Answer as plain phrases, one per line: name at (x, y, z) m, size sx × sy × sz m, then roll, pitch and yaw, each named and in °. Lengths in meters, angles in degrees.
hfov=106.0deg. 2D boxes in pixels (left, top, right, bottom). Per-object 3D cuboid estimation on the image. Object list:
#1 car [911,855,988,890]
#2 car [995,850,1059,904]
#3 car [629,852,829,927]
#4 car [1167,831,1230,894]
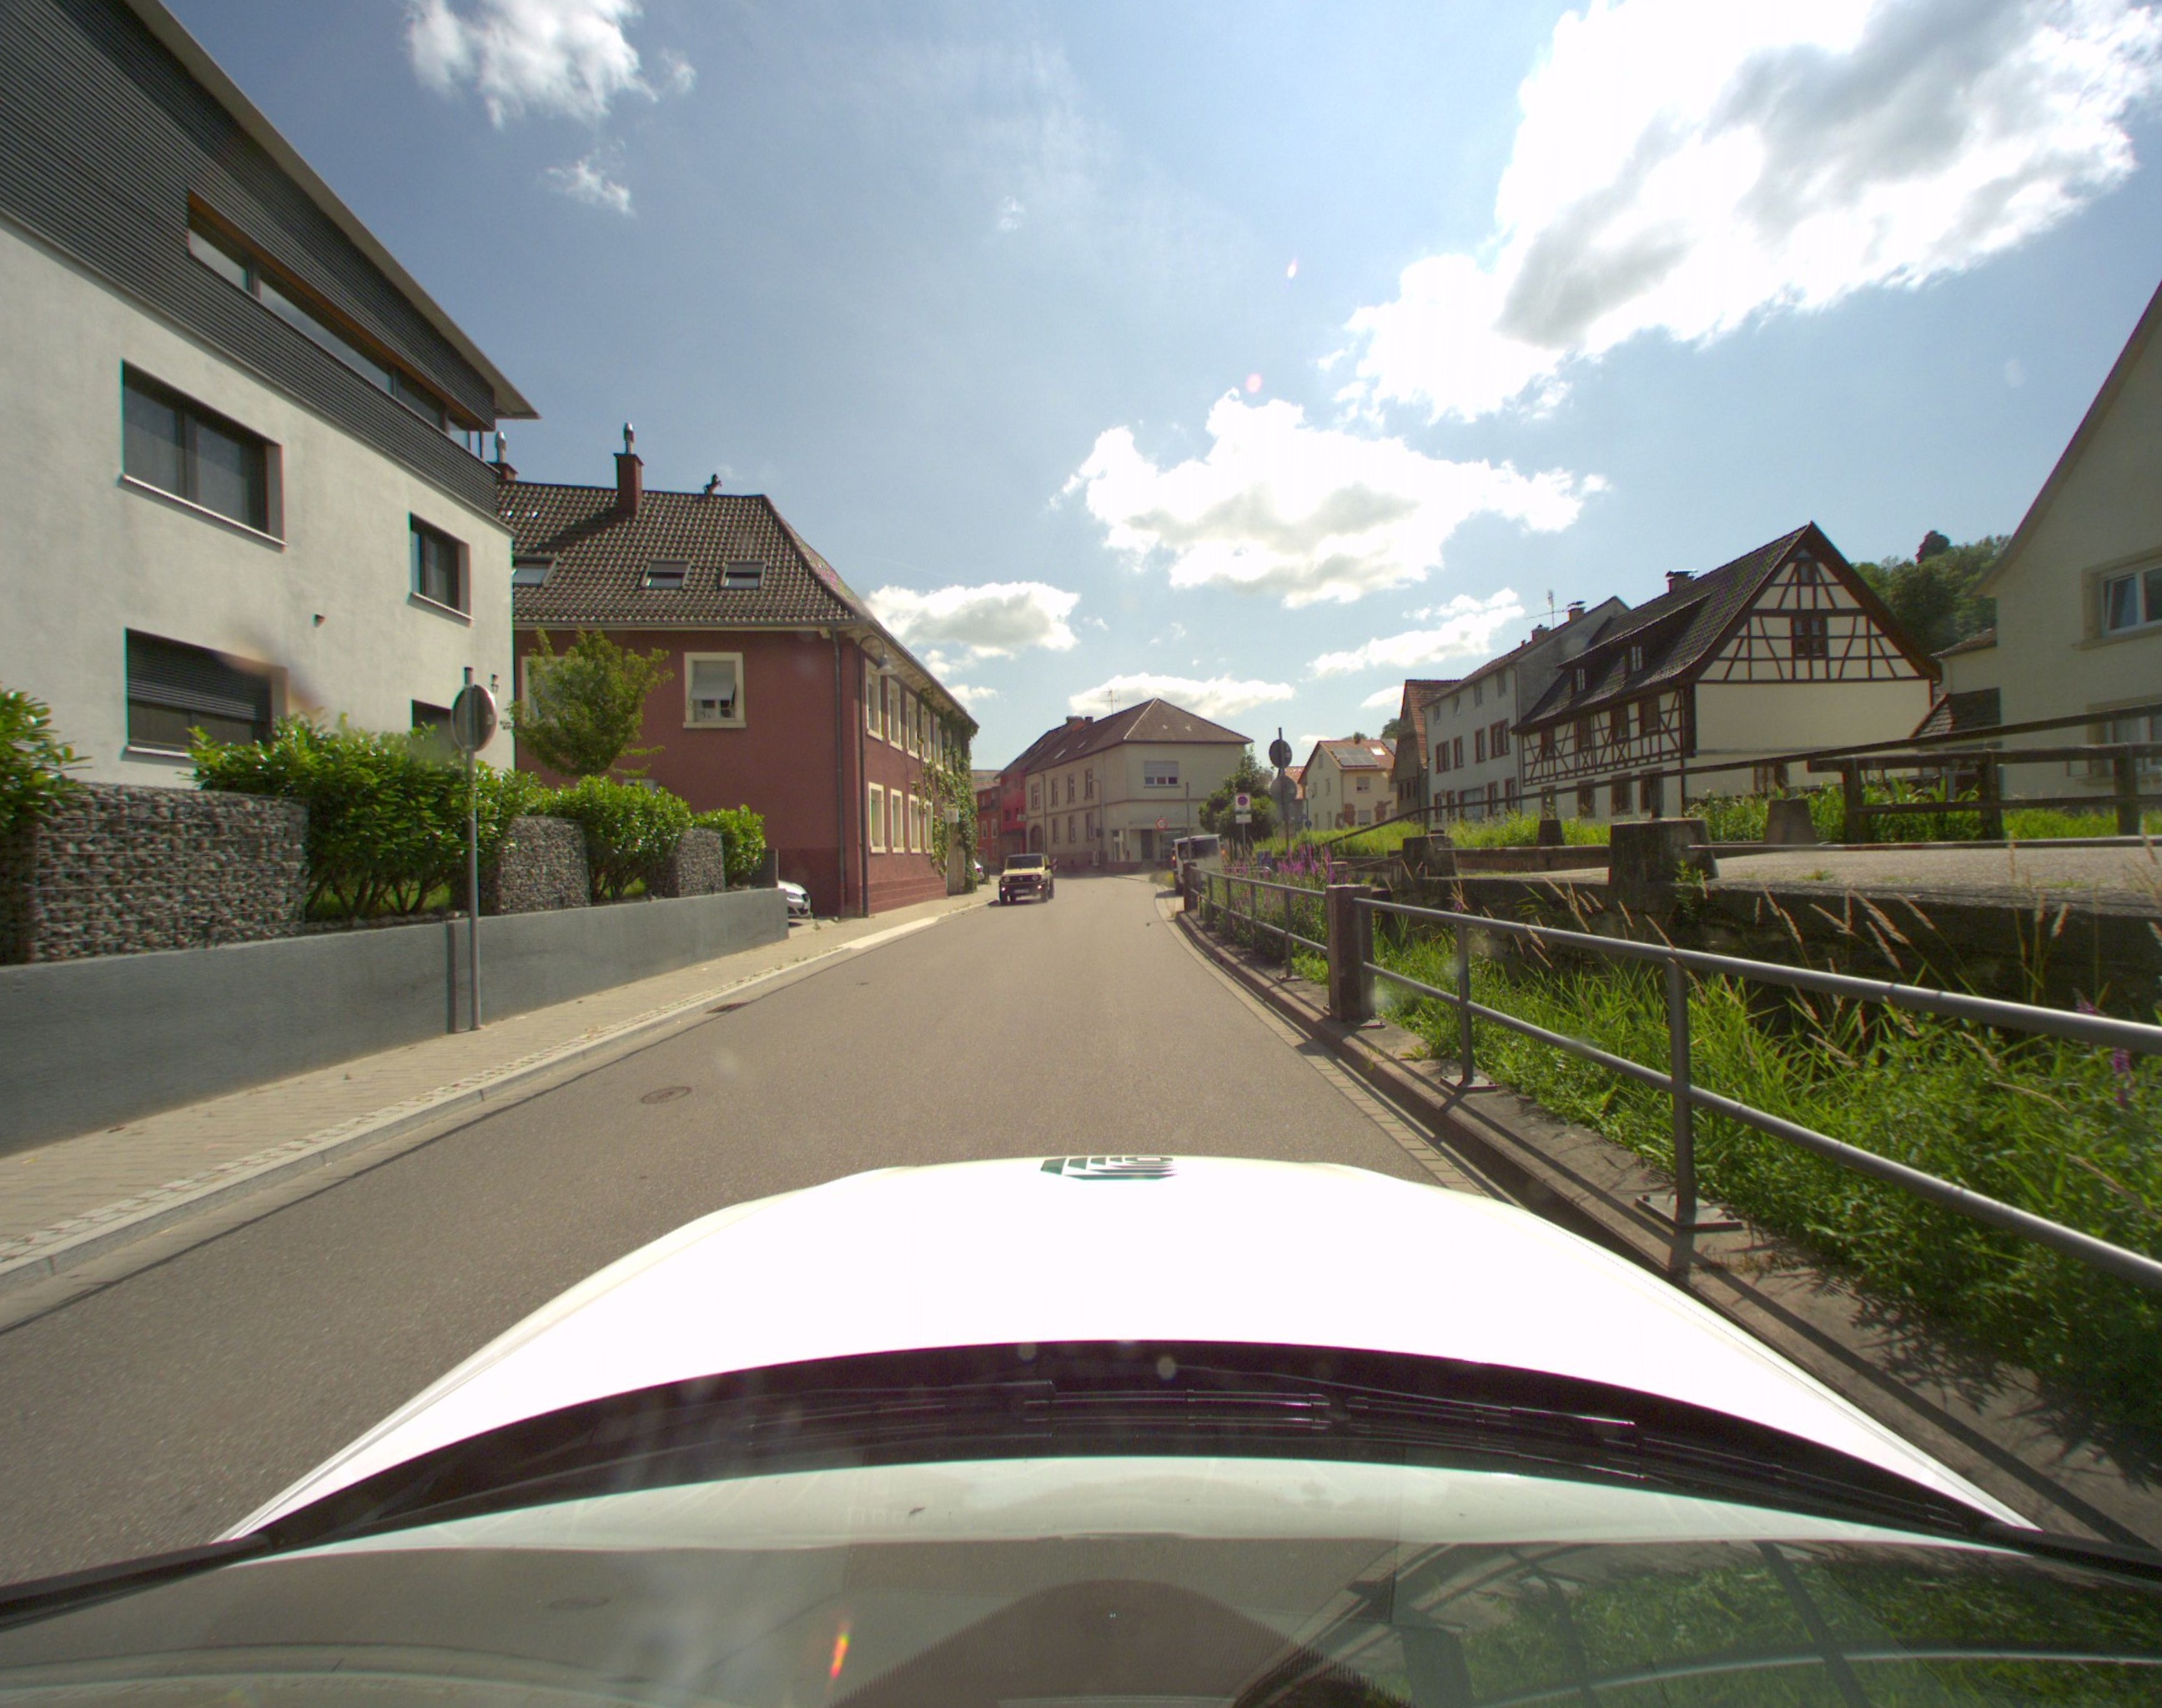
car at (-7.024, 1.000, 43.220) m, size 3.949 × 1.530 × 2.012 m, roll -6°, pitch -3°, yaw 44°
car at (-1.851, 0.759, 28.843) m, size 1.614 × 1.719 × 3.478 m, roll -4°, pitch 0°, yaw 5°
car at (-7.579, 0.743, 17.753) m, size 3.551 × 1.406 × 1.652 m, roll 2°, pitch 0°, yaw 1°
car at (4.079, 0.281, 28.661) m, size 1.889 × 1.980 × 3.118 m, roll -4°, pitch 0°, yaw 5°
